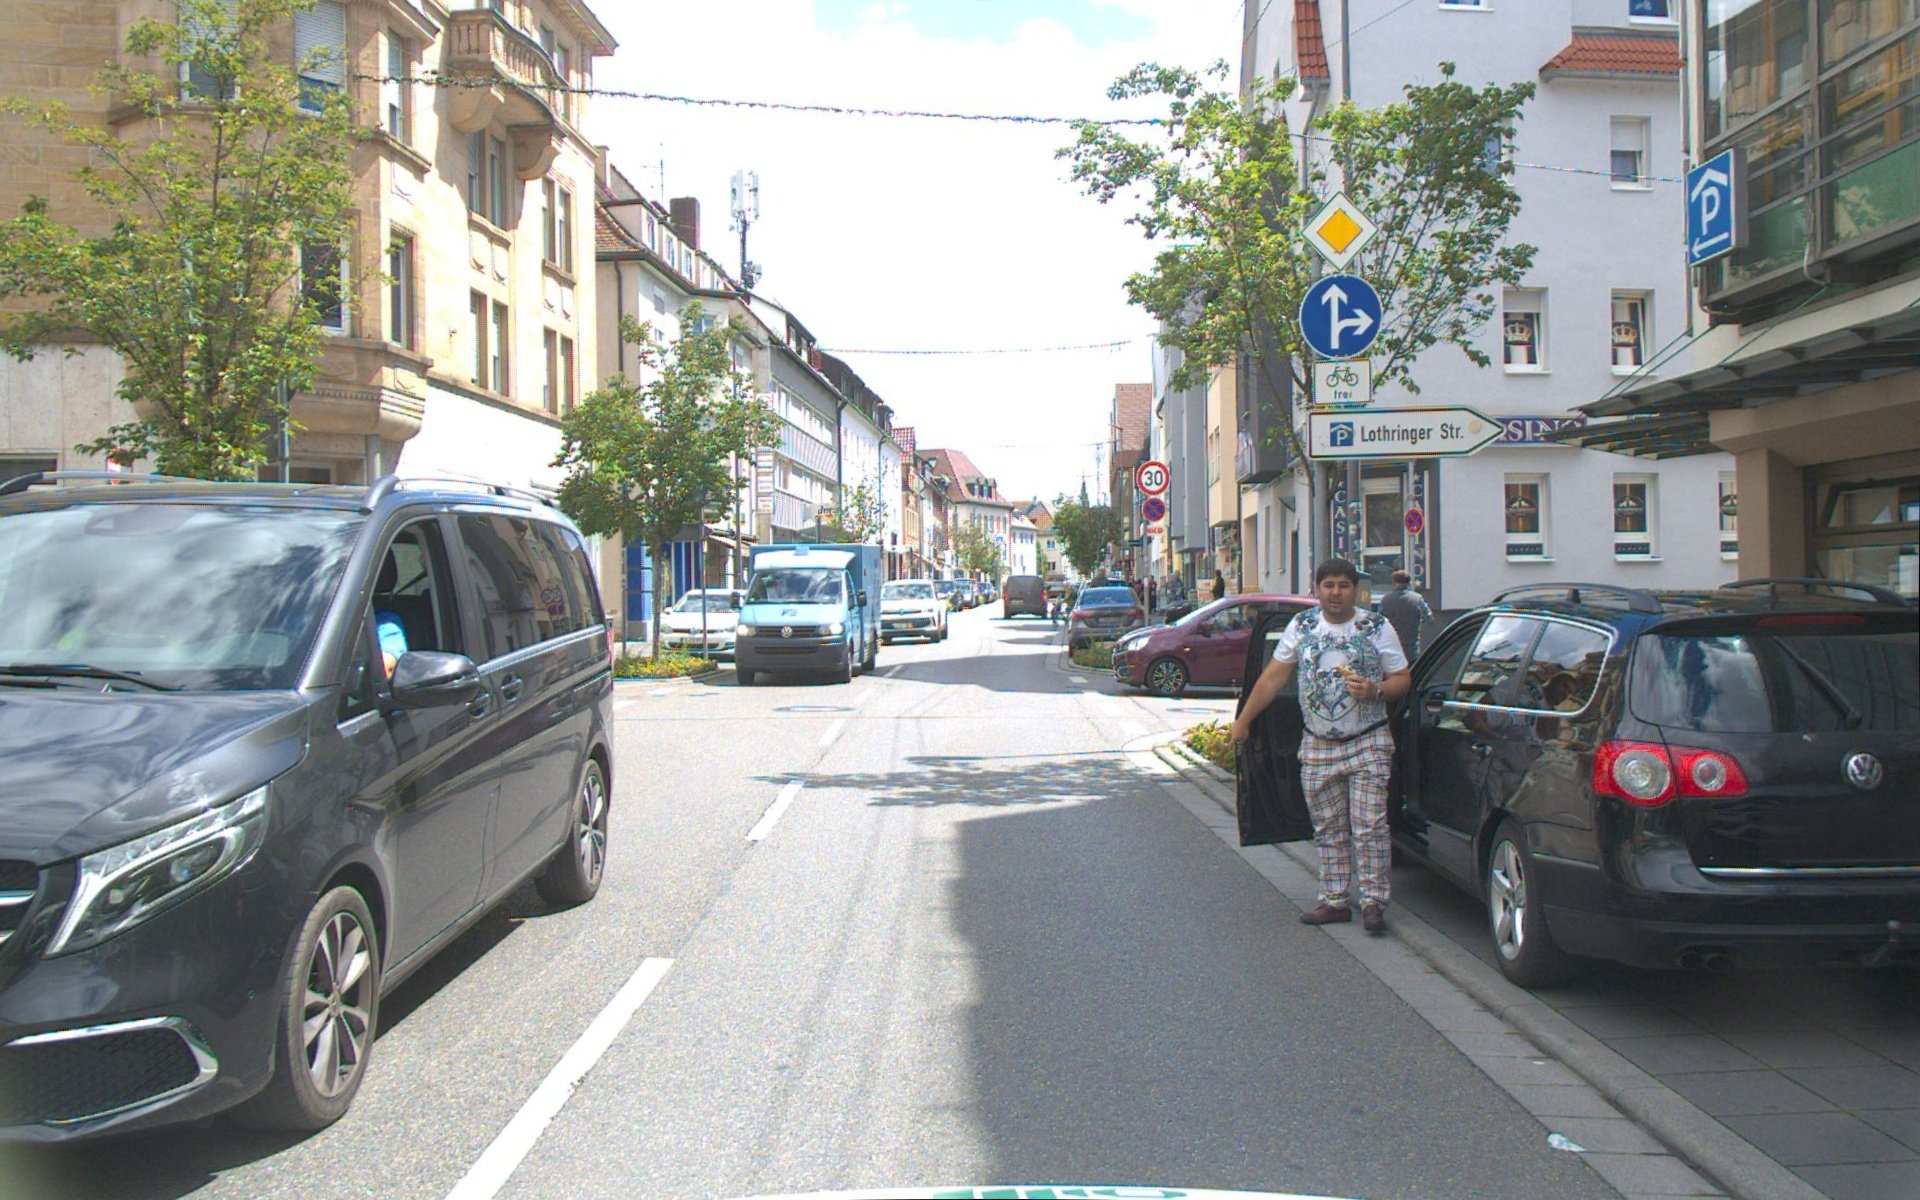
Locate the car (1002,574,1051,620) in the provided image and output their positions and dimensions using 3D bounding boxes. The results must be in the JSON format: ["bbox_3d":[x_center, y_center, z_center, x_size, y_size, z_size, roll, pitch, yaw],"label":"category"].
[{"bbox_3d":[2.907,-0.111,71.612,1.998,1.880,5.001,1,0,3],"label":"car"}]

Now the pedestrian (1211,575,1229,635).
[{"bbox_3d":[7.705,0.152,49.052,0.426,1.748,0.537,1,-1,1],"label":"pedestrian"}]

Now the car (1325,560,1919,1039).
[{"bbox_3d":[2.939,0.597,7.389,1.679,1.479,4.553,0,0,1],"label":"car"}]

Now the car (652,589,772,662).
[{"bbox_3d":[-5.151,0.514,34.838,1.807,1.422,4.037,1,0,1],"label":"car"}]

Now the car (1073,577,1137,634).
[{"bbox_3d":[4.469,0.138,51.548,1.762,1.631,4.205,-2,0,3],"label":"car"}]

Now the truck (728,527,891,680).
[{"bbox_3d":[-2.480,0.067,29.050,2.063,2.345,6.477,1,0,2],"label":"truck"}]

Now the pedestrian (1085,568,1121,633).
[{"bbox_3d":[4.217,0.016,48.997,0.955,1.896,0.865,-2,-1,3],"label":"pedestrian"}]

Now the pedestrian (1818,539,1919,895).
[{"bbox_3d":[4.415,0.527,7.638,0.646,1.589,0.477,1,-1,0],"label":"pedestrian"}]

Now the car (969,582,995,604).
[{"bbox_3d":[1.689,-0.551,125.538,1.761,1.626,4.391,0,0,4],"label":"car"}]

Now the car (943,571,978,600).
[{"bbox_3d":[0.065,-0.910,105.513,1.778,1.786,4.466,1,0,5],"label":"car"}]

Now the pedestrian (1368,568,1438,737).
[{"bbox_3d":[4.616,0.543,17.252,0.559,1.733,0.481,1,-1,-3],"label":"pedestrian"}]

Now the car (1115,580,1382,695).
[{"bbox_3d":[4.149,0.531,24.188,3.668,1.557,1.538,1,0,3],"label":"car"}]

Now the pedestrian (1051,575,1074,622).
[{"bbox_3d":[3.614,-0.056,58.377,0.716,1.646,0.651,1,-1,-1],"label":"pedestrian"}]

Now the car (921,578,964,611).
[{"bbox_3d":[-0.968,-0.286,92.313,1.777,1.786,4.672,1,0,7],"label":"car"}]

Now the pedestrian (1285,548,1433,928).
[{"bbox_3d":[1.809,0.592,7.466,0.571,1.628,0.548,1,-1,21],"label":"pedestrian"}]

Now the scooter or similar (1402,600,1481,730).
[{"bbox_3d":[5.001,0.654,17.233,0.422,1.303,1.249,1,0,-1],"label":"scooter or similar"}]

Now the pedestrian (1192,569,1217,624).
[{"bbox_3d":[7.817,-0.103,52.948,0.728,1.748,0.656,-1,-1,3],"label":"pedestrian"}]

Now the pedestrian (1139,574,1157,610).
[{"bbox_3d":[8.400,-0.342,73.981,0.734,1.580,0.726,-1,-1,3],"label":"pedestrian"}]

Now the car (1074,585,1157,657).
[{"bbox_3d":[3.402,0.440,35.831,1.670,1.445,4.321,1,0,6],"label":"car"}]

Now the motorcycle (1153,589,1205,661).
[{"bbox_3d":[4.052,0.457,30.767,0.645,1.281,2.376,1,0,0],"label":"motorcycle"}]

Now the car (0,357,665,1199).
[{"bbox_3d":[-2.533,0.399,6.214,1.833,1.966,5.177,0,1,1],"label":"car"}]

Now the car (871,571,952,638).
[{"bbox_3d":[-1.244,0.132,43.902,1.750,1.668,4.118,1,0,3],"label":"car"}]

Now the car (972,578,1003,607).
[{"bbox_3d":[1.905,-0.476,113.519,1.778,1.922,4.843,1,0,5],"label":"car"}]
